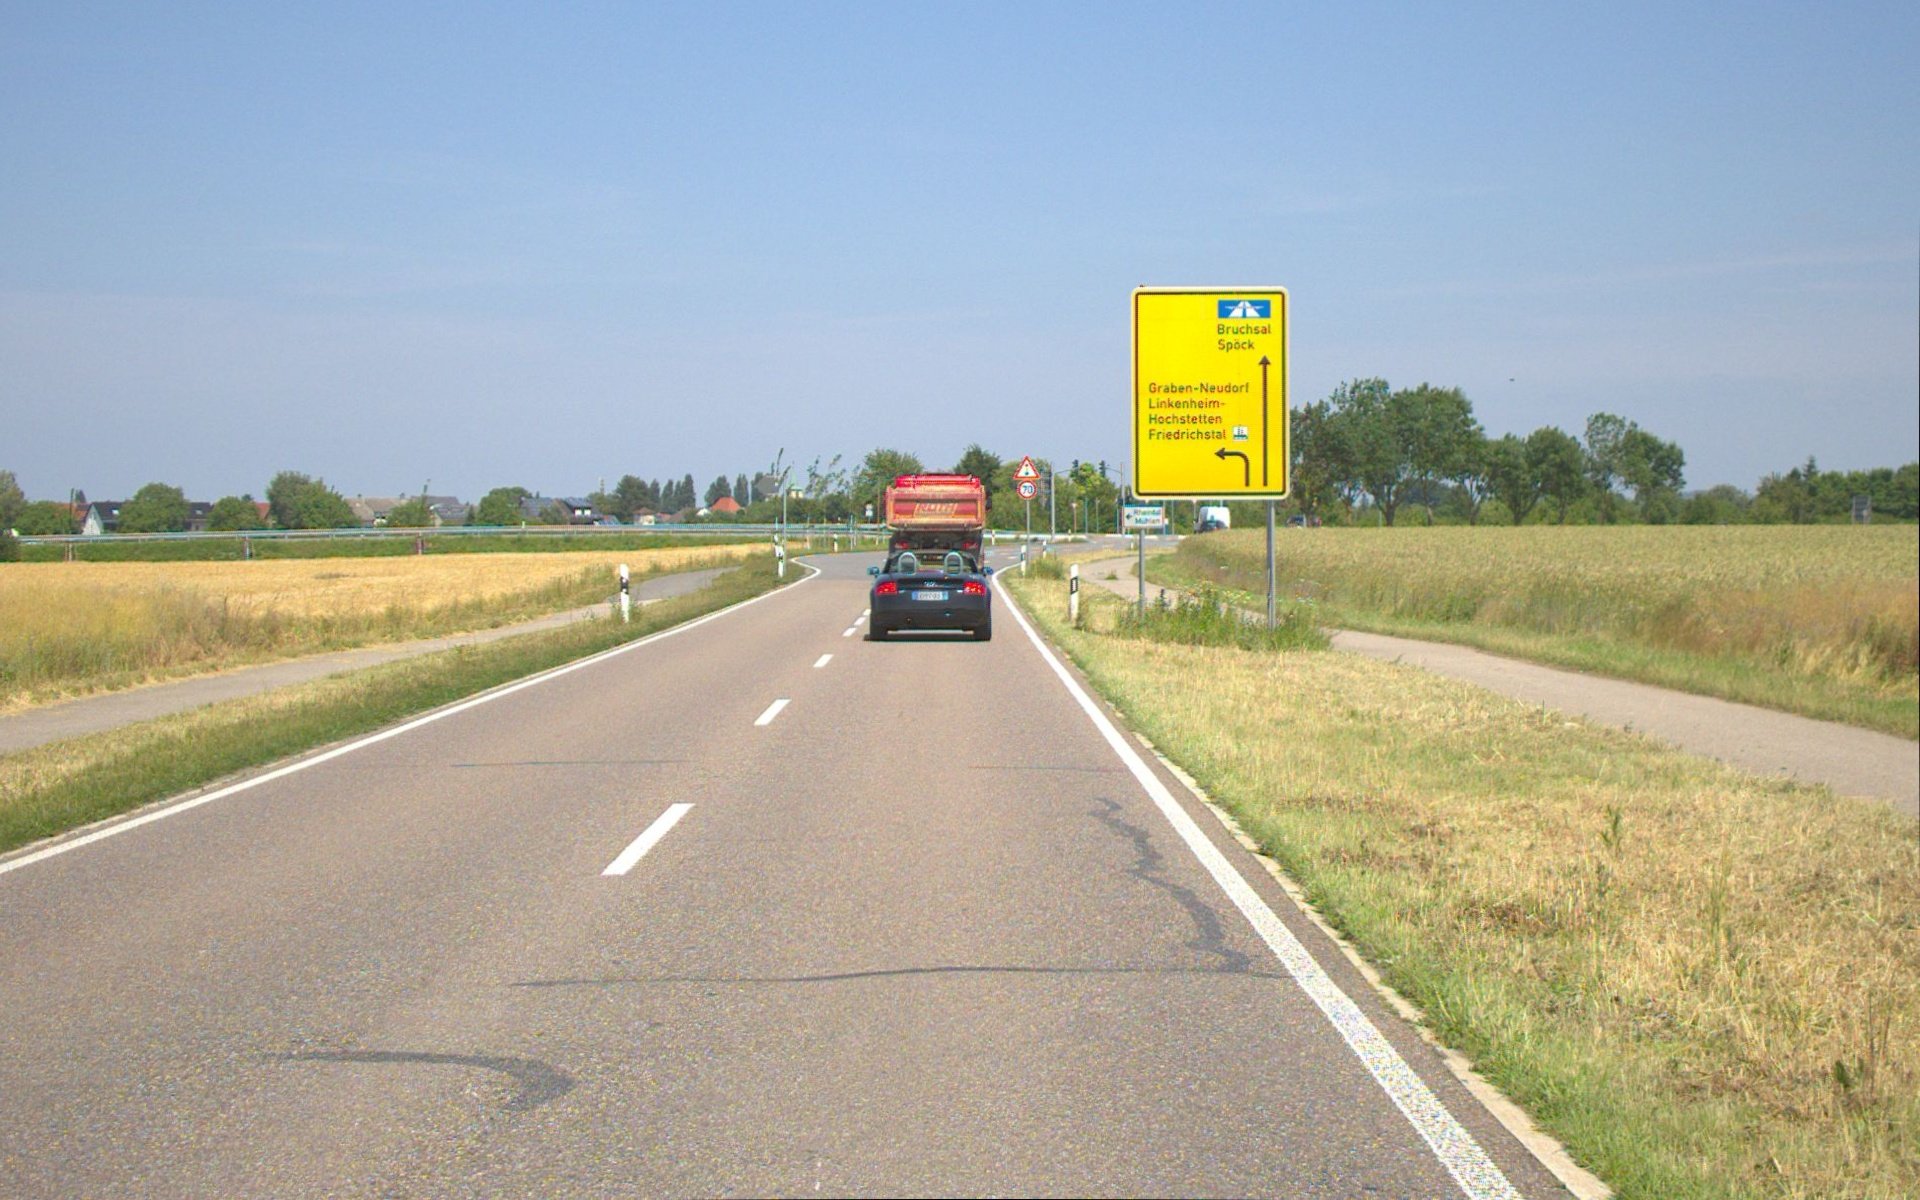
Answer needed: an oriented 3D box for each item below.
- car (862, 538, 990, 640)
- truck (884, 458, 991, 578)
[{"bbox_3d":[-0.481,-0.176,49.907,1.747,1.371,3.679,2,1,0],"label":"car"},{"bbox_3d":[-0.602,-2.149,92.366,2.714,3.042,8.165,1,1,0],"label":"truck"}]
